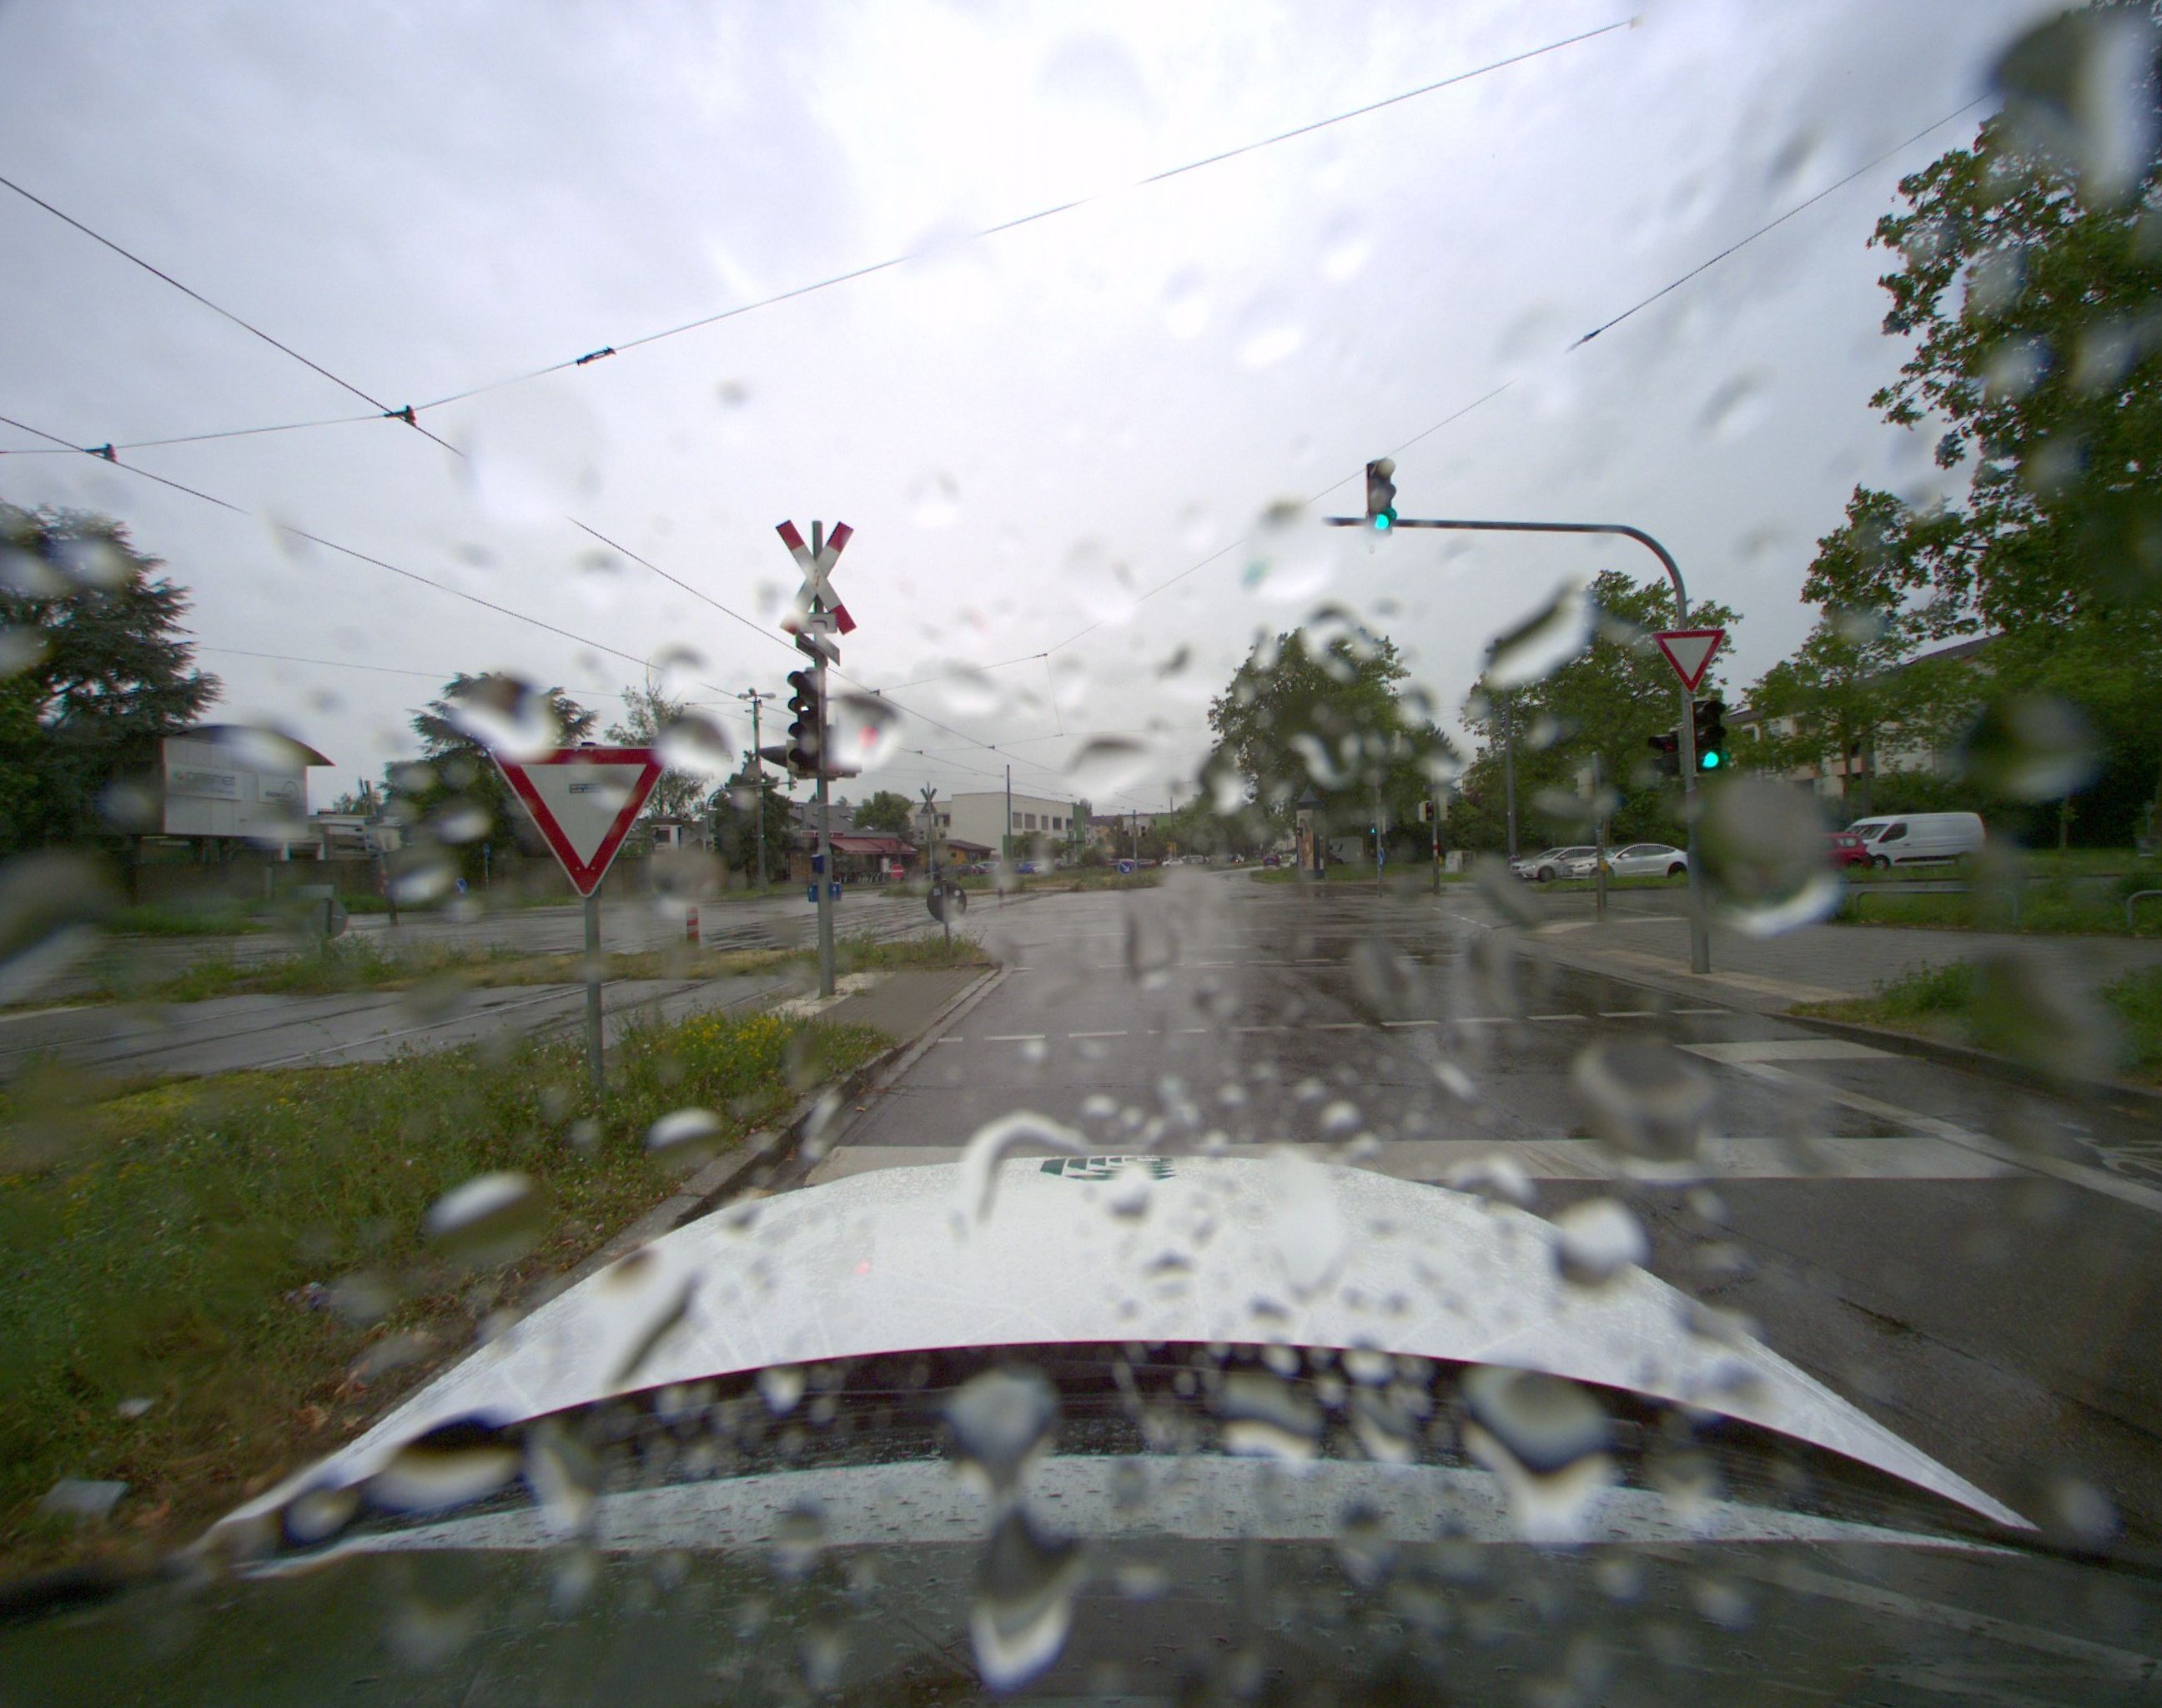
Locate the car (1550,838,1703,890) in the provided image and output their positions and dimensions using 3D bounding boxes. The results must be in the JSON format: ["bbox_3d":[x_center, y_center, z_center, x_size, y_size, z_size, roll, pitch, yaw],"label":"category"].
[{"bbox_3d":[20.475,0.366,30.681,4.585,1.828,1.931,0,-1,-5],"label":"car"}]

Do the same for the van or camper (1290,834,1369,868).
[{"bbox_3d":[24.474,-0.229,80.143,7.261,3.178,3.278,-1,-1,20],"label":"van or camper"}]

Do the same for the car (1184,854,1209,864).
[{"bbox_3d":[20.421,0.857,144.619,3.986,1.759,2.004,0,-1,-10],"label":"car"}]

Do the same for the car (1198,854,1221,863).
[{"bbox_3d":[24.981,0.899,158.552,3.977,1.832,1.998,0,-1,-3],"label":"car"}]

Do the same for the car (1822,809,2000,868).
[{"bbox_3d":[35.095,-0.623,34.538,5.589,2.392,1.999,0,-1,-2],"label":"car"}]

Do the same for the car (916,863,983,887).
[{"bbox_3d":[-9.557,1.515,59.374,4.459,1.418,1.860,-3,-1,3],"label":"car"}]

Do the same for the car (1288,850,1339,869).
[{"bbox_3d":[22.022,0.507,77.226,4.405,1.717,2.011,-1,-1,23],"label":"car"}]

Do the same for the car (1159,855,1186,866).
[{"bbox_3d":[14.221,0.957,126.639,3.772,1.702,1.832,0,-1,-8],"label":"car"}]

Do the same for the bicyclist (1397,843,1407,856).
[{"bbox_3d":[35.322,-0.483,89.691,0.855,1.425,0.959,-1,-1,11],"label":"bicyclist"}]

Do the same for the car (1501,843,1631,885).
[{"bbox_3d":[20.194,0.416,34.033,4.385,1.691,1.931,0,-1,-5],"label":"car"}]

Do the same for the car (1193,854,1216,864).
[{"bbox_3d":[23.243,0.871,153.521,3.986,1.832,1.994,0,-1,-10],"label":"car"}]

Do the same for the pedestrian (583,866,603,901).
[{"bbox_3d":[-25.752,1.548,42.951,0.890,1.797,0.719,0,0,-33],"label":"pedestrian"}]

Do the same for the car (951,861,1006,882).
[{"bbox_3d":[-8.181,1.391,65.085,3.966,1.582,1.862,-2,-1,6],"label":"car"}]

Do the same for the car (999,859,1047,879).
[{"bbox_3d":[-5.222,1.359,73.206,4.112,1.641,1.922,-1,-1,-12],"label":"car"}]

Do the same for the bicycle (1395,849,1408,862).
[{"bbox_3d":[35.333,0.152,89.707,0.855,1.425,2.712,-1,-1,12],"label":"bicycle"}]

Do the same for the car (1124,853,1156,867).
[{"bbox_3d":[7.955,0.847,110.073,3.980,1.887,1.997,0,-1,-5],"label":"car"}]

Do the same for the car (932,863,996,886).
[{"bbox_3d":[-8.855,1.542,61.765,4.478,1.418,1.860,-3,-1,3],"label":"car"}]

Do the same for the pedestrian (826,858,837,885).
[{"bbox_3d":[-18.776,1.290,61.295,0.726,2.014,0.789,0,-1,-21],"label":"pedestrian"}]

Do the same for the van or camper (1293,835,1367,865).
[{"bbox_3d":[27.261,-0.409,89.224,7.359,3.178,3.281,-1,-1,24],"label":"van or camper"}]

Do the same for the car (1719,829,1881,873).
[{"bbox_3d":[26.984,-0.102,30.661,4.589,1.607,1.790,0,-1,-1],"label":"car"}]

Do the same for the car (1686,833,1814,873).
[{"bbox_3d":[28.191,-0.039,34.383,4.048,1.607,1.788,0,-1,-5],"label":"car"}]

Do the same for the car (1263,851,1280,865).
[{"bbox_3d":[24.119,0.532,103.098,1.792,1.686,3.929,-1,-1,18],"label":"car"}]

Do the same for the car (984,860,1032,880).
[{"bbox_3d":[-6.298,1.371,70.052,3.986,1.582,1.924,-2,-1,-9],"label":"car"}]
